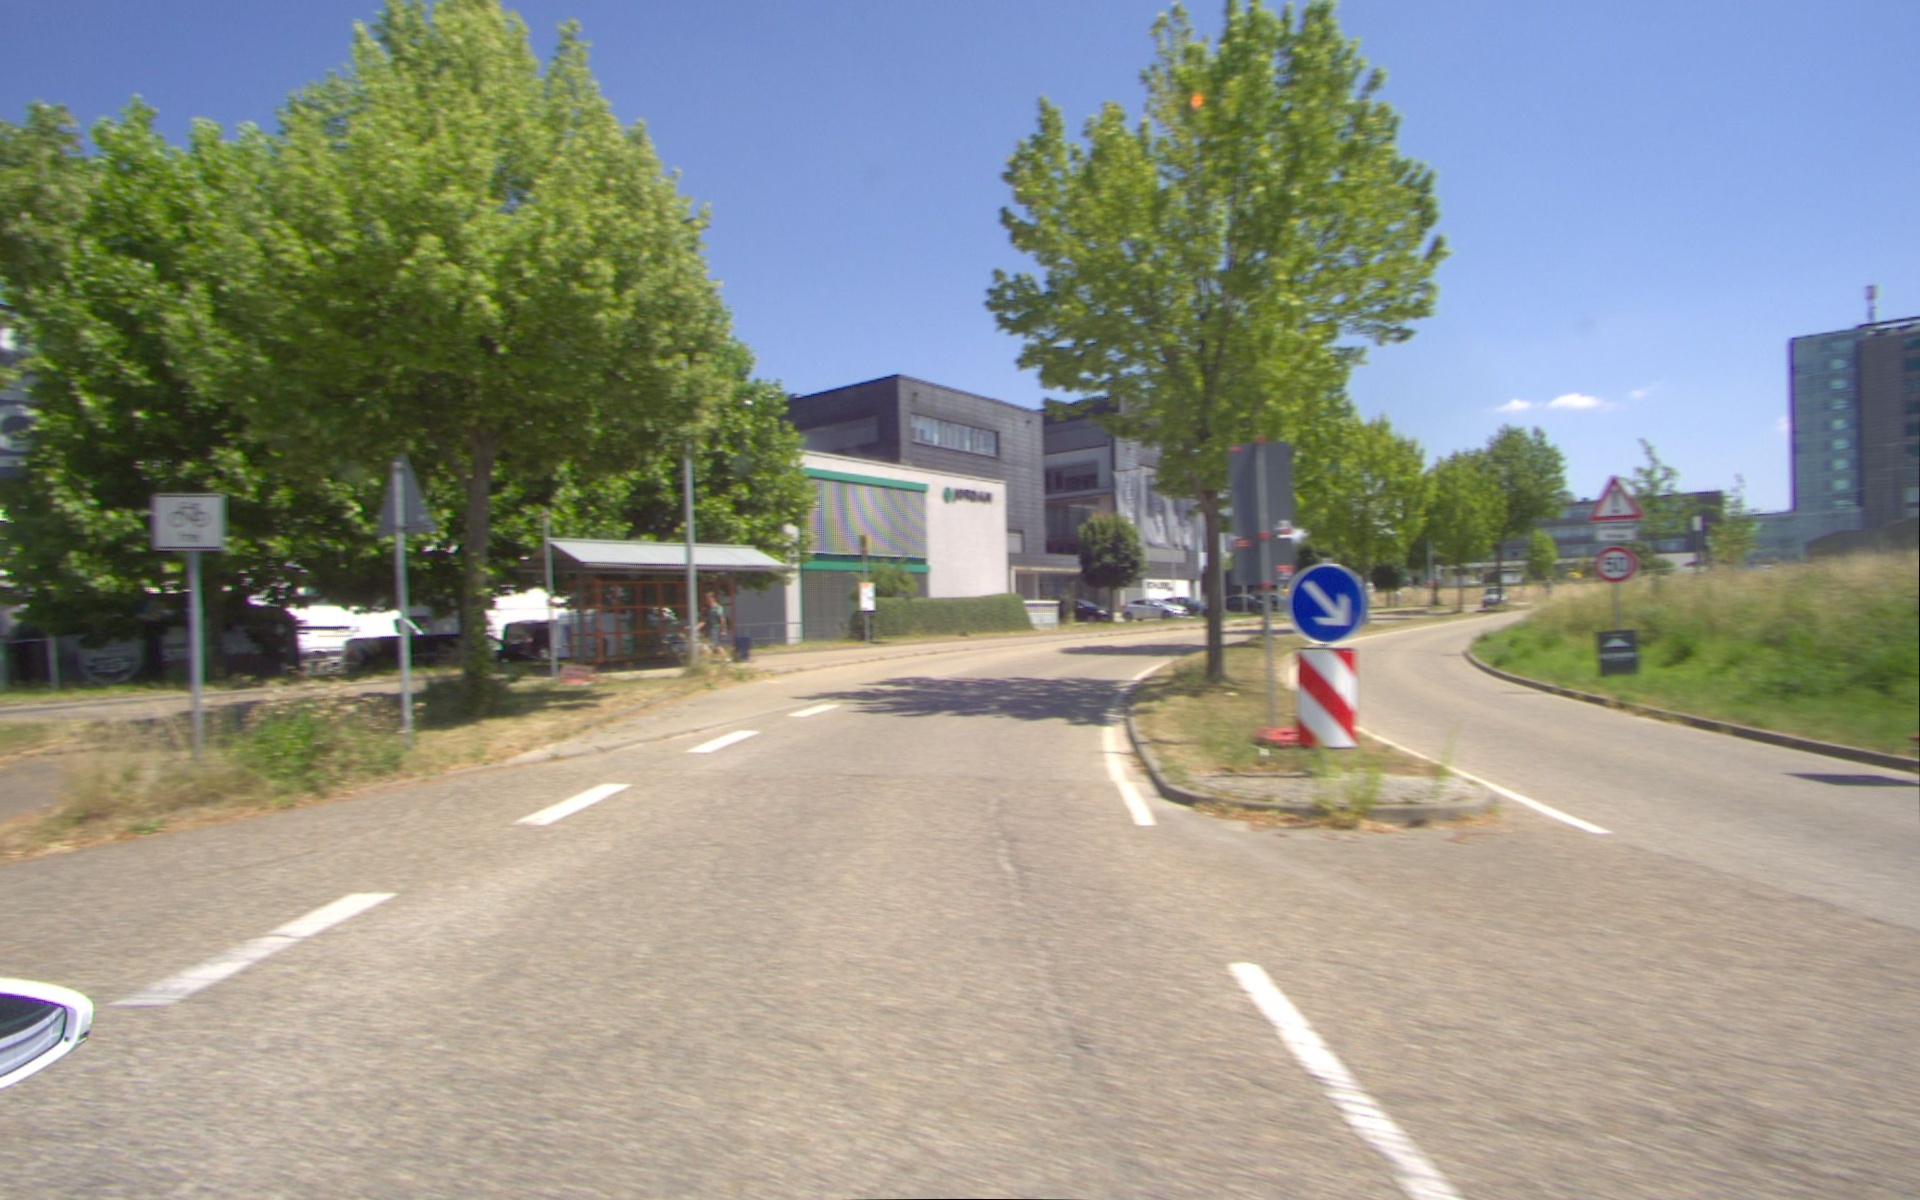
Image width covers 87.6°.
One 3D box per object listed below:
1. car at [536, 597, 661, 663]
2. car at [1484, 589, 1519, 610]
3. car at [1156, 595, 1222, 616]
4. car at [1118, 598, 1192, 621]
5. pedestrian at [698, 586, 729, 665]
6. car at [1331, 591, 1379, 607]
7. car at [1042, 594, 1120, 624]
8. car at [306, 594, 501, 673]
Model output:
[{"bbox_3d":[-12.229,1.044,33.842,4.200,2.038,1.543,-3,-3,28],"label":"car"},{"bbox_3d":[42.903,-0.019,79.304,1.661,1.523,3.544,-4,-3,41],"label":"car"},{"bbox_3d":[15.162,0.382,66.344,3.844,1.198,1.693,-3,0,37],"label":"car"},{"bbox_3d":[12.077,0.583,62.149,4.224,1.197,1.484,-4,-3,37],"label":"car"},{"bbox_3d":[-5.399,0.559,21.911,0.522,1.690,0.578,-1,-2,-24],"label":"pedestrian"},{"bbox_3d":[36.448,-0.069,92.419,3.797,1.291,1.598,-3,0,37],"label":"car"},{"bbox_3d":[6.547,0.497,54.259,3.870,1.397,1.693,-3,0,37],"label":"car"},{"bbox_3d":[-14.299,0.820,25.884,1.819,1.751,3.967,-2,1,40],"label":"car"}]
